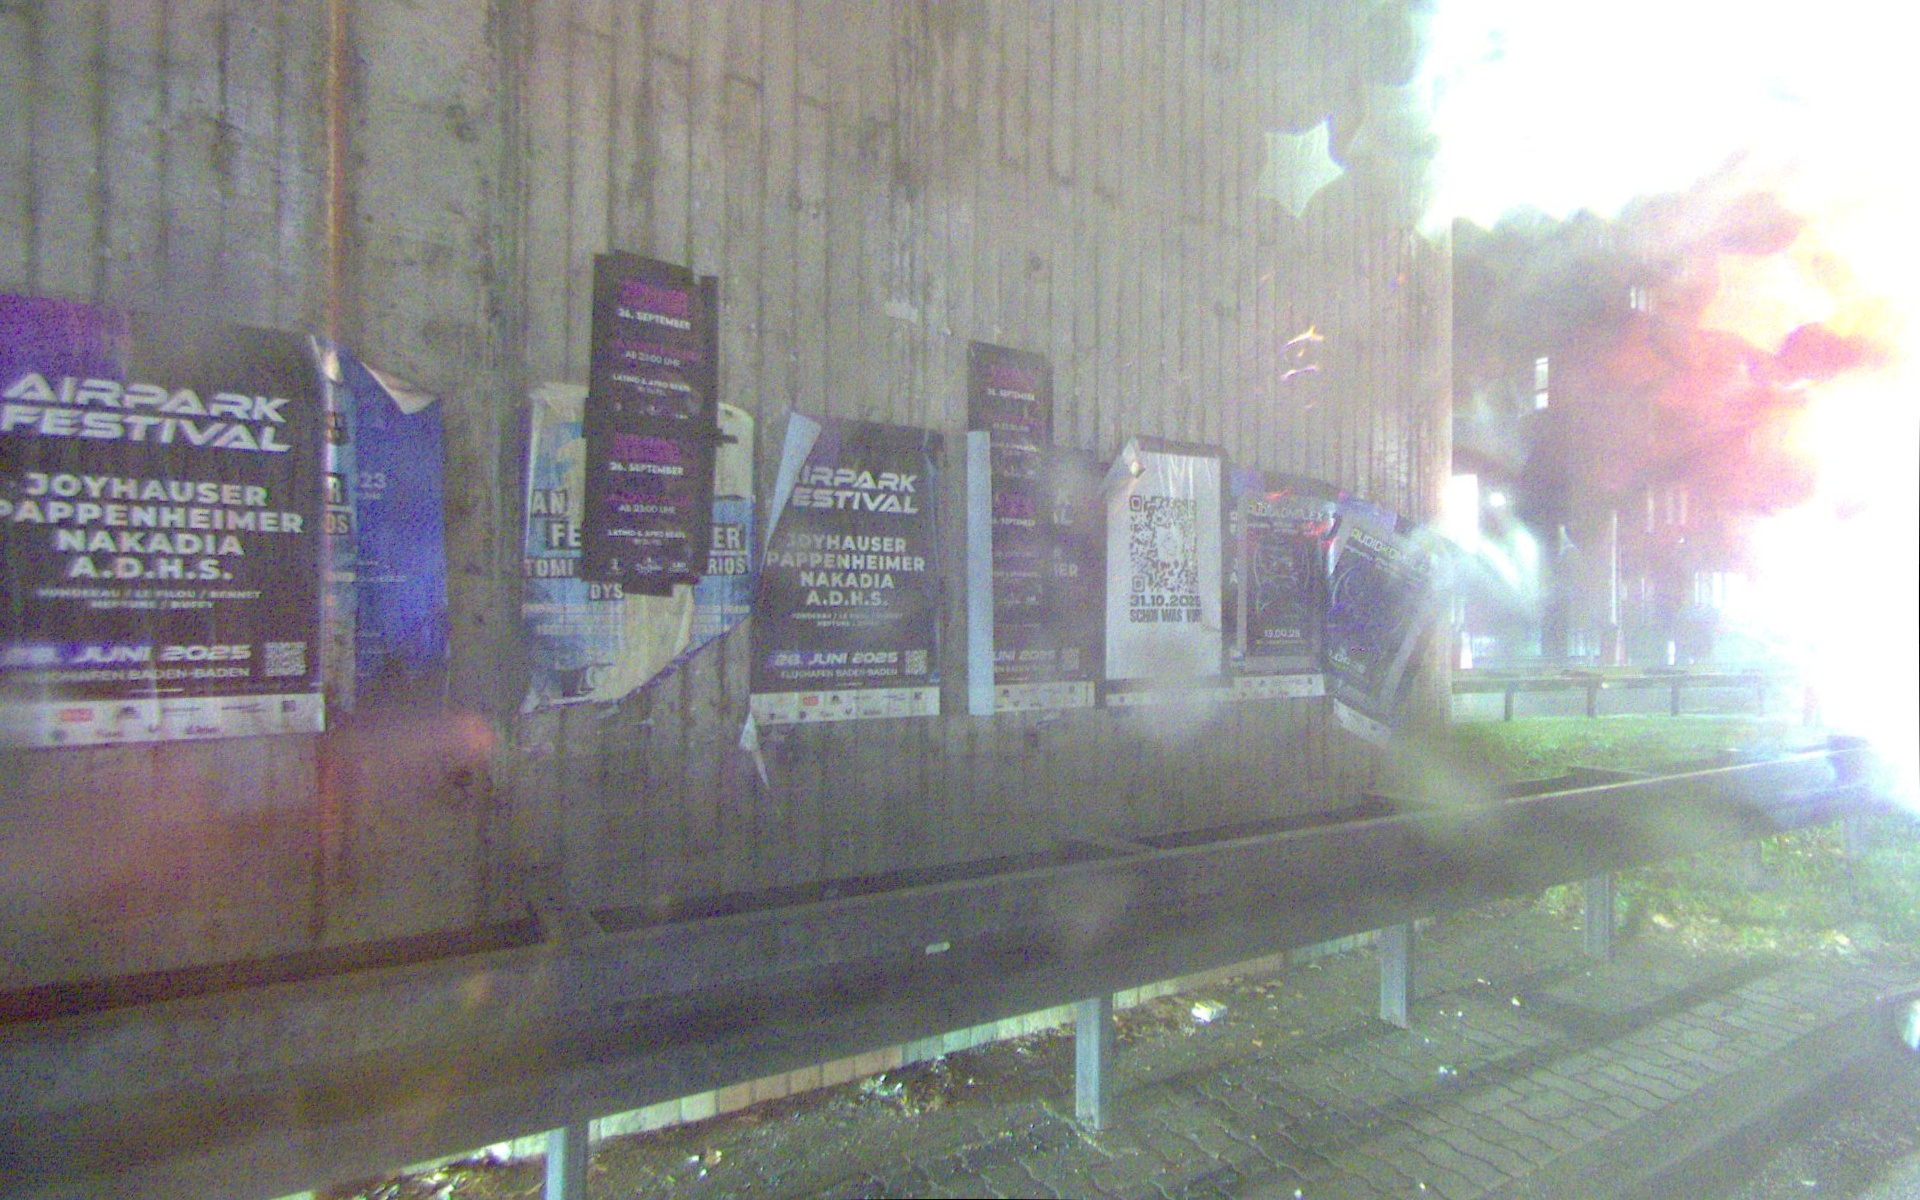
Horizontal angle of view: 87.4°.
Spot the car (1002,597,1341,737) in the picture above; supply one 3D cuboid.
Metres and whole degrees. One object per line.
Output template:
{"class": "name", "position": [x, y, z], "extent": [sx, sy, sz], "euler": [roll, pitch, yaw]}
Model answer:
{"class": "car", "position": [3.018, 0.922, 14.435], "extent": [4.437, 1.773, 1.851], "euler": [2, 0, -19]}
